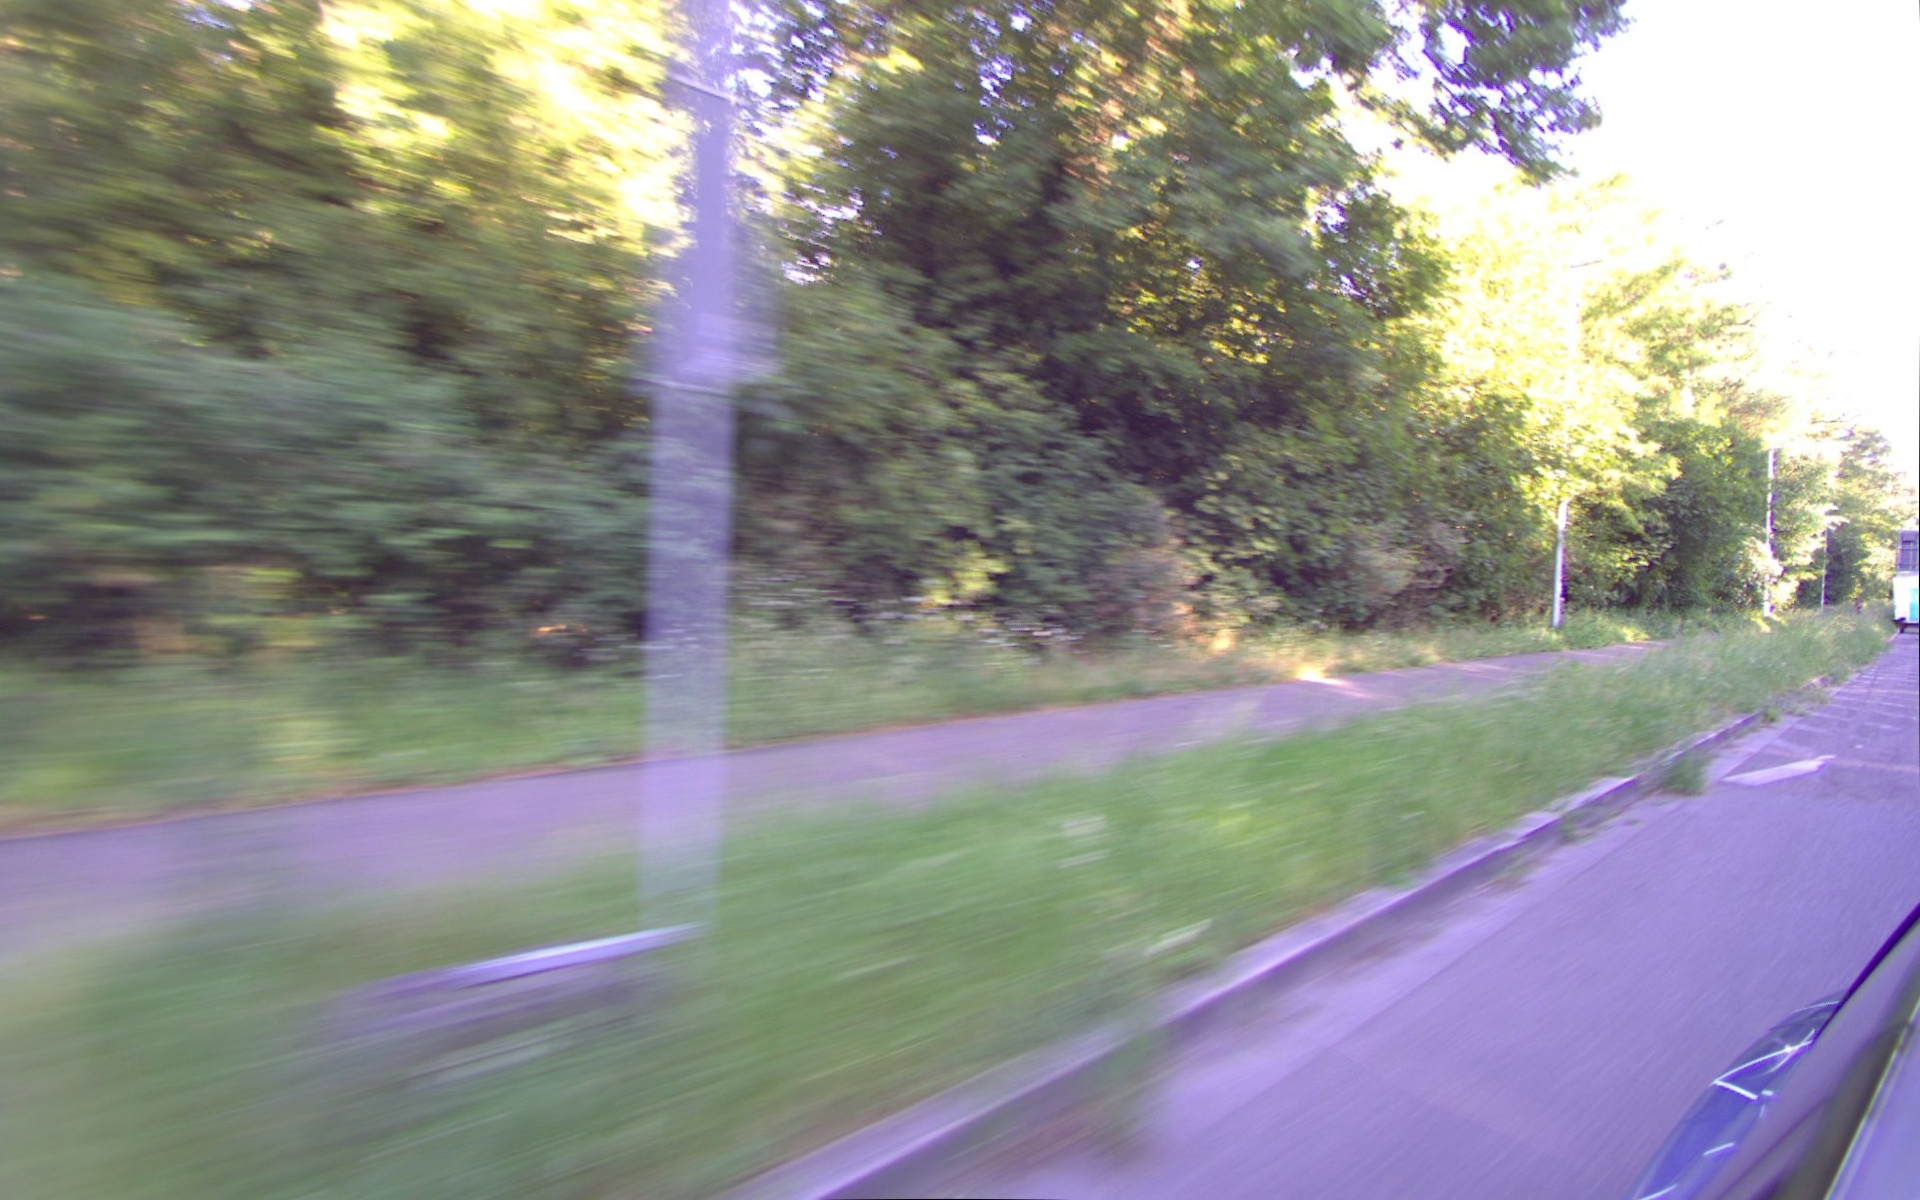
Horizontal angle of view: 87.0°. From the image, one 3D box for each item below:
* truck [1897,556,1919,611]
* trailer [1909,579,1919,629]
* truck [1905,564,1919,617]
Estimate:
[{"bbox_3d":[60.252,-1.005,62.923,2.700,3.276,7.017,5,4,43],"label":"truck"},{"bbox_3d":[44.332,0.134,45.890,1.865,2.205,4.064,1,1,44],"label":"trailer"},{"bbox_3d":[54.941,-0.553,57.067,2.383,2.908,5.511,-1,1,44],"label":"truck"}]
